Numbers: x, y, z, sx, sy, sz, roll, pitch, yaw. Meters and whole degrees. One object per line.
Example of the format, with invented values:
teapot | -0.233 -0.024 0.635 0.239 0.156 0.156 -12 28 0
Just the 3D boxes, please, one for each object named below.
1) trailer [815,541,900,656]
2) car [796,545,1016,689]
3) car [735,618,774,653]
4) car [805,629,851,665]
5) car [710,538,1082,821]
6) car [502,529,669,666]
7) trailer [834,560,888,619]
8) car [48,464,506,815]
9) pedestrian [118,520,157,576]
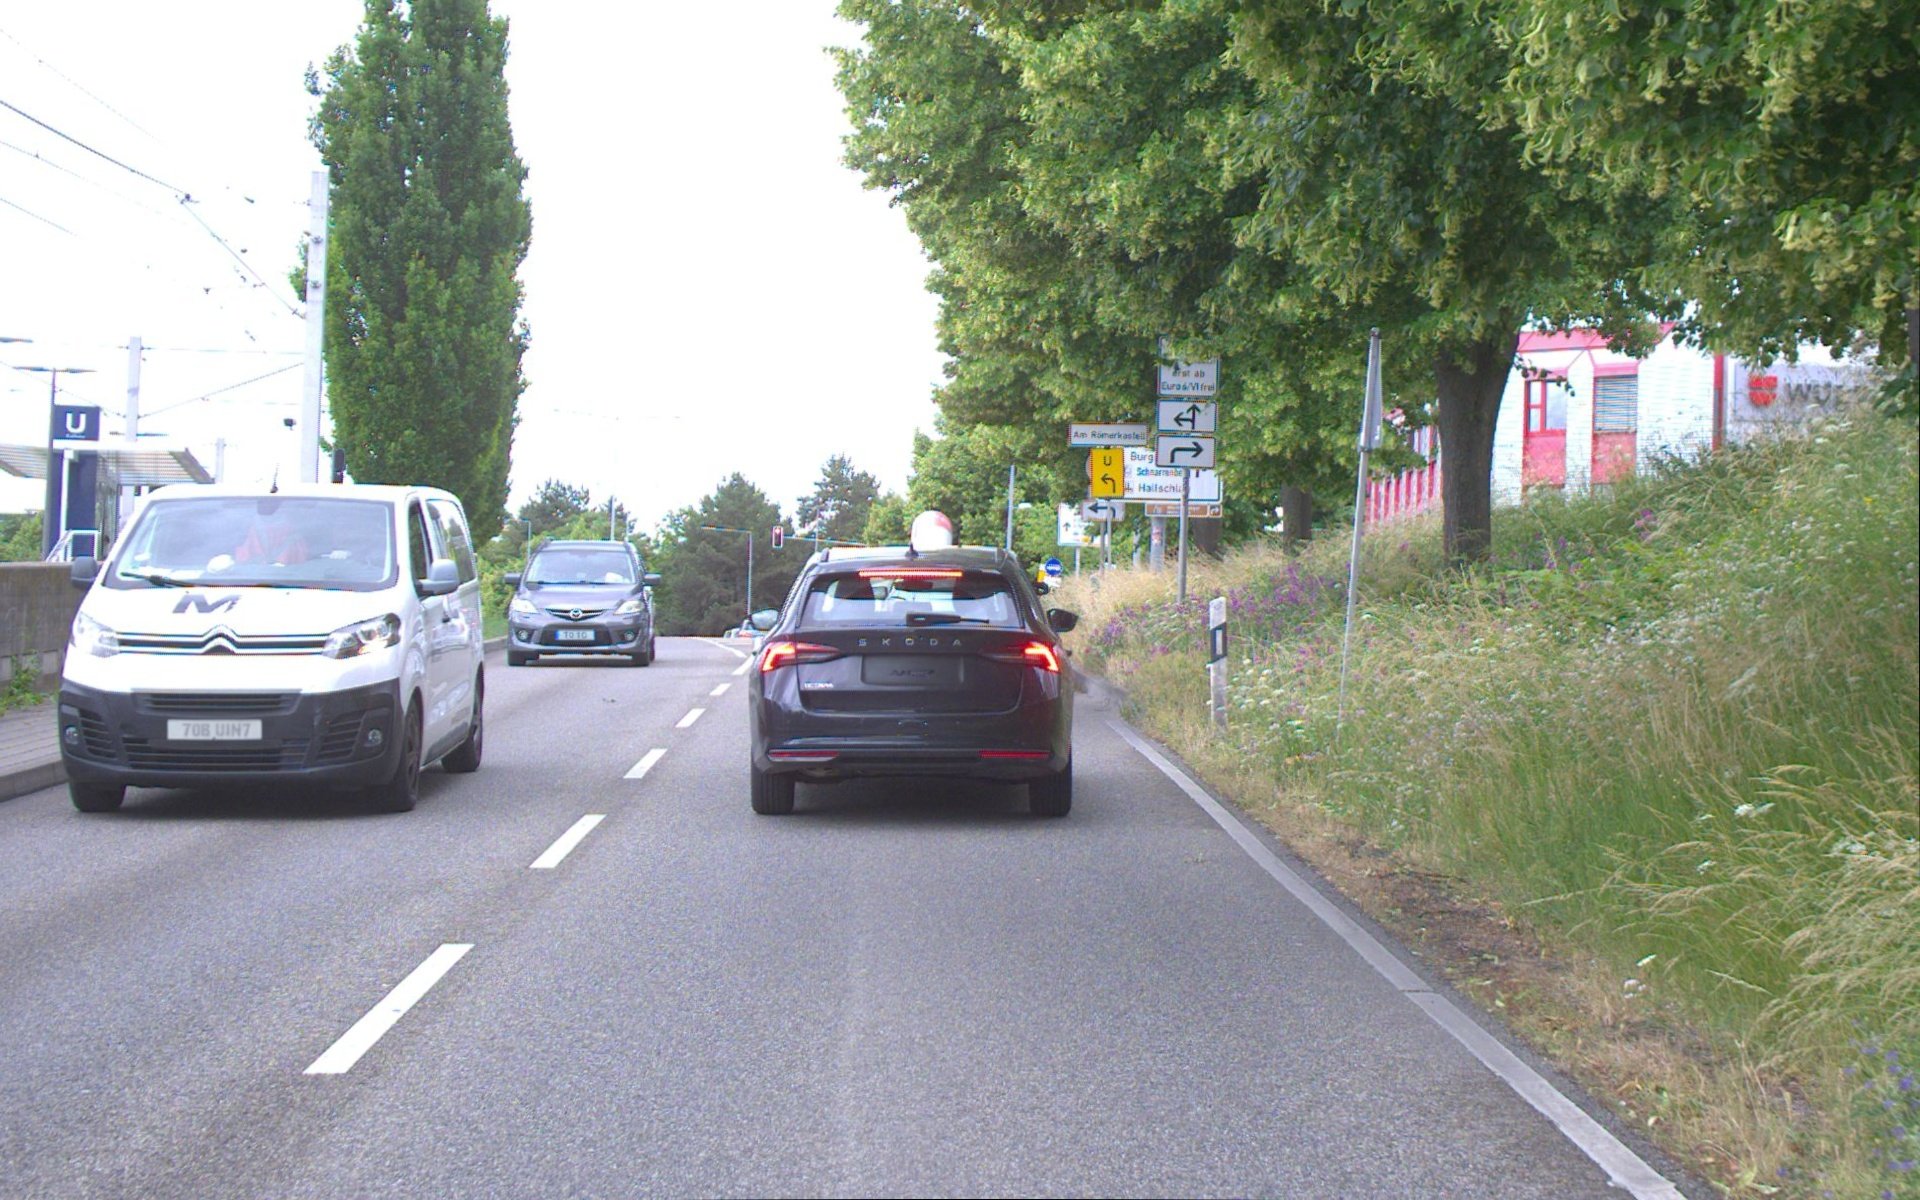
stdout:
trailer | -3.836 0.005 127.727 2.565 3.694 7.763 1 -4 -6
car | -0.629 0.147 36.638 1.623 1.452 3.690 0 1 -13
car | -8.397 1.433 140.278 1.525 1.349 3.491 1 1 -4
car | -5.398 1.927 141.366 1.812 1.349 4.118 1 0 -1
car | -0.260 0.369 19.926 1.836 1.427 4.278 1 1 3
car | -4.772 -0.065 44.271 1.823 1.651 4.246 1 1 -2
trailer | -2.801 -0.283 97.184 1.409 1.588 3.303 1 -1 -3
car | -3.924 0.183 20.574 1.896 1.827 4.906 -1 1 -2
pedestrian | -18.138 -1.141 75.819 0.761 1.195 0.665 1 -1 -7
